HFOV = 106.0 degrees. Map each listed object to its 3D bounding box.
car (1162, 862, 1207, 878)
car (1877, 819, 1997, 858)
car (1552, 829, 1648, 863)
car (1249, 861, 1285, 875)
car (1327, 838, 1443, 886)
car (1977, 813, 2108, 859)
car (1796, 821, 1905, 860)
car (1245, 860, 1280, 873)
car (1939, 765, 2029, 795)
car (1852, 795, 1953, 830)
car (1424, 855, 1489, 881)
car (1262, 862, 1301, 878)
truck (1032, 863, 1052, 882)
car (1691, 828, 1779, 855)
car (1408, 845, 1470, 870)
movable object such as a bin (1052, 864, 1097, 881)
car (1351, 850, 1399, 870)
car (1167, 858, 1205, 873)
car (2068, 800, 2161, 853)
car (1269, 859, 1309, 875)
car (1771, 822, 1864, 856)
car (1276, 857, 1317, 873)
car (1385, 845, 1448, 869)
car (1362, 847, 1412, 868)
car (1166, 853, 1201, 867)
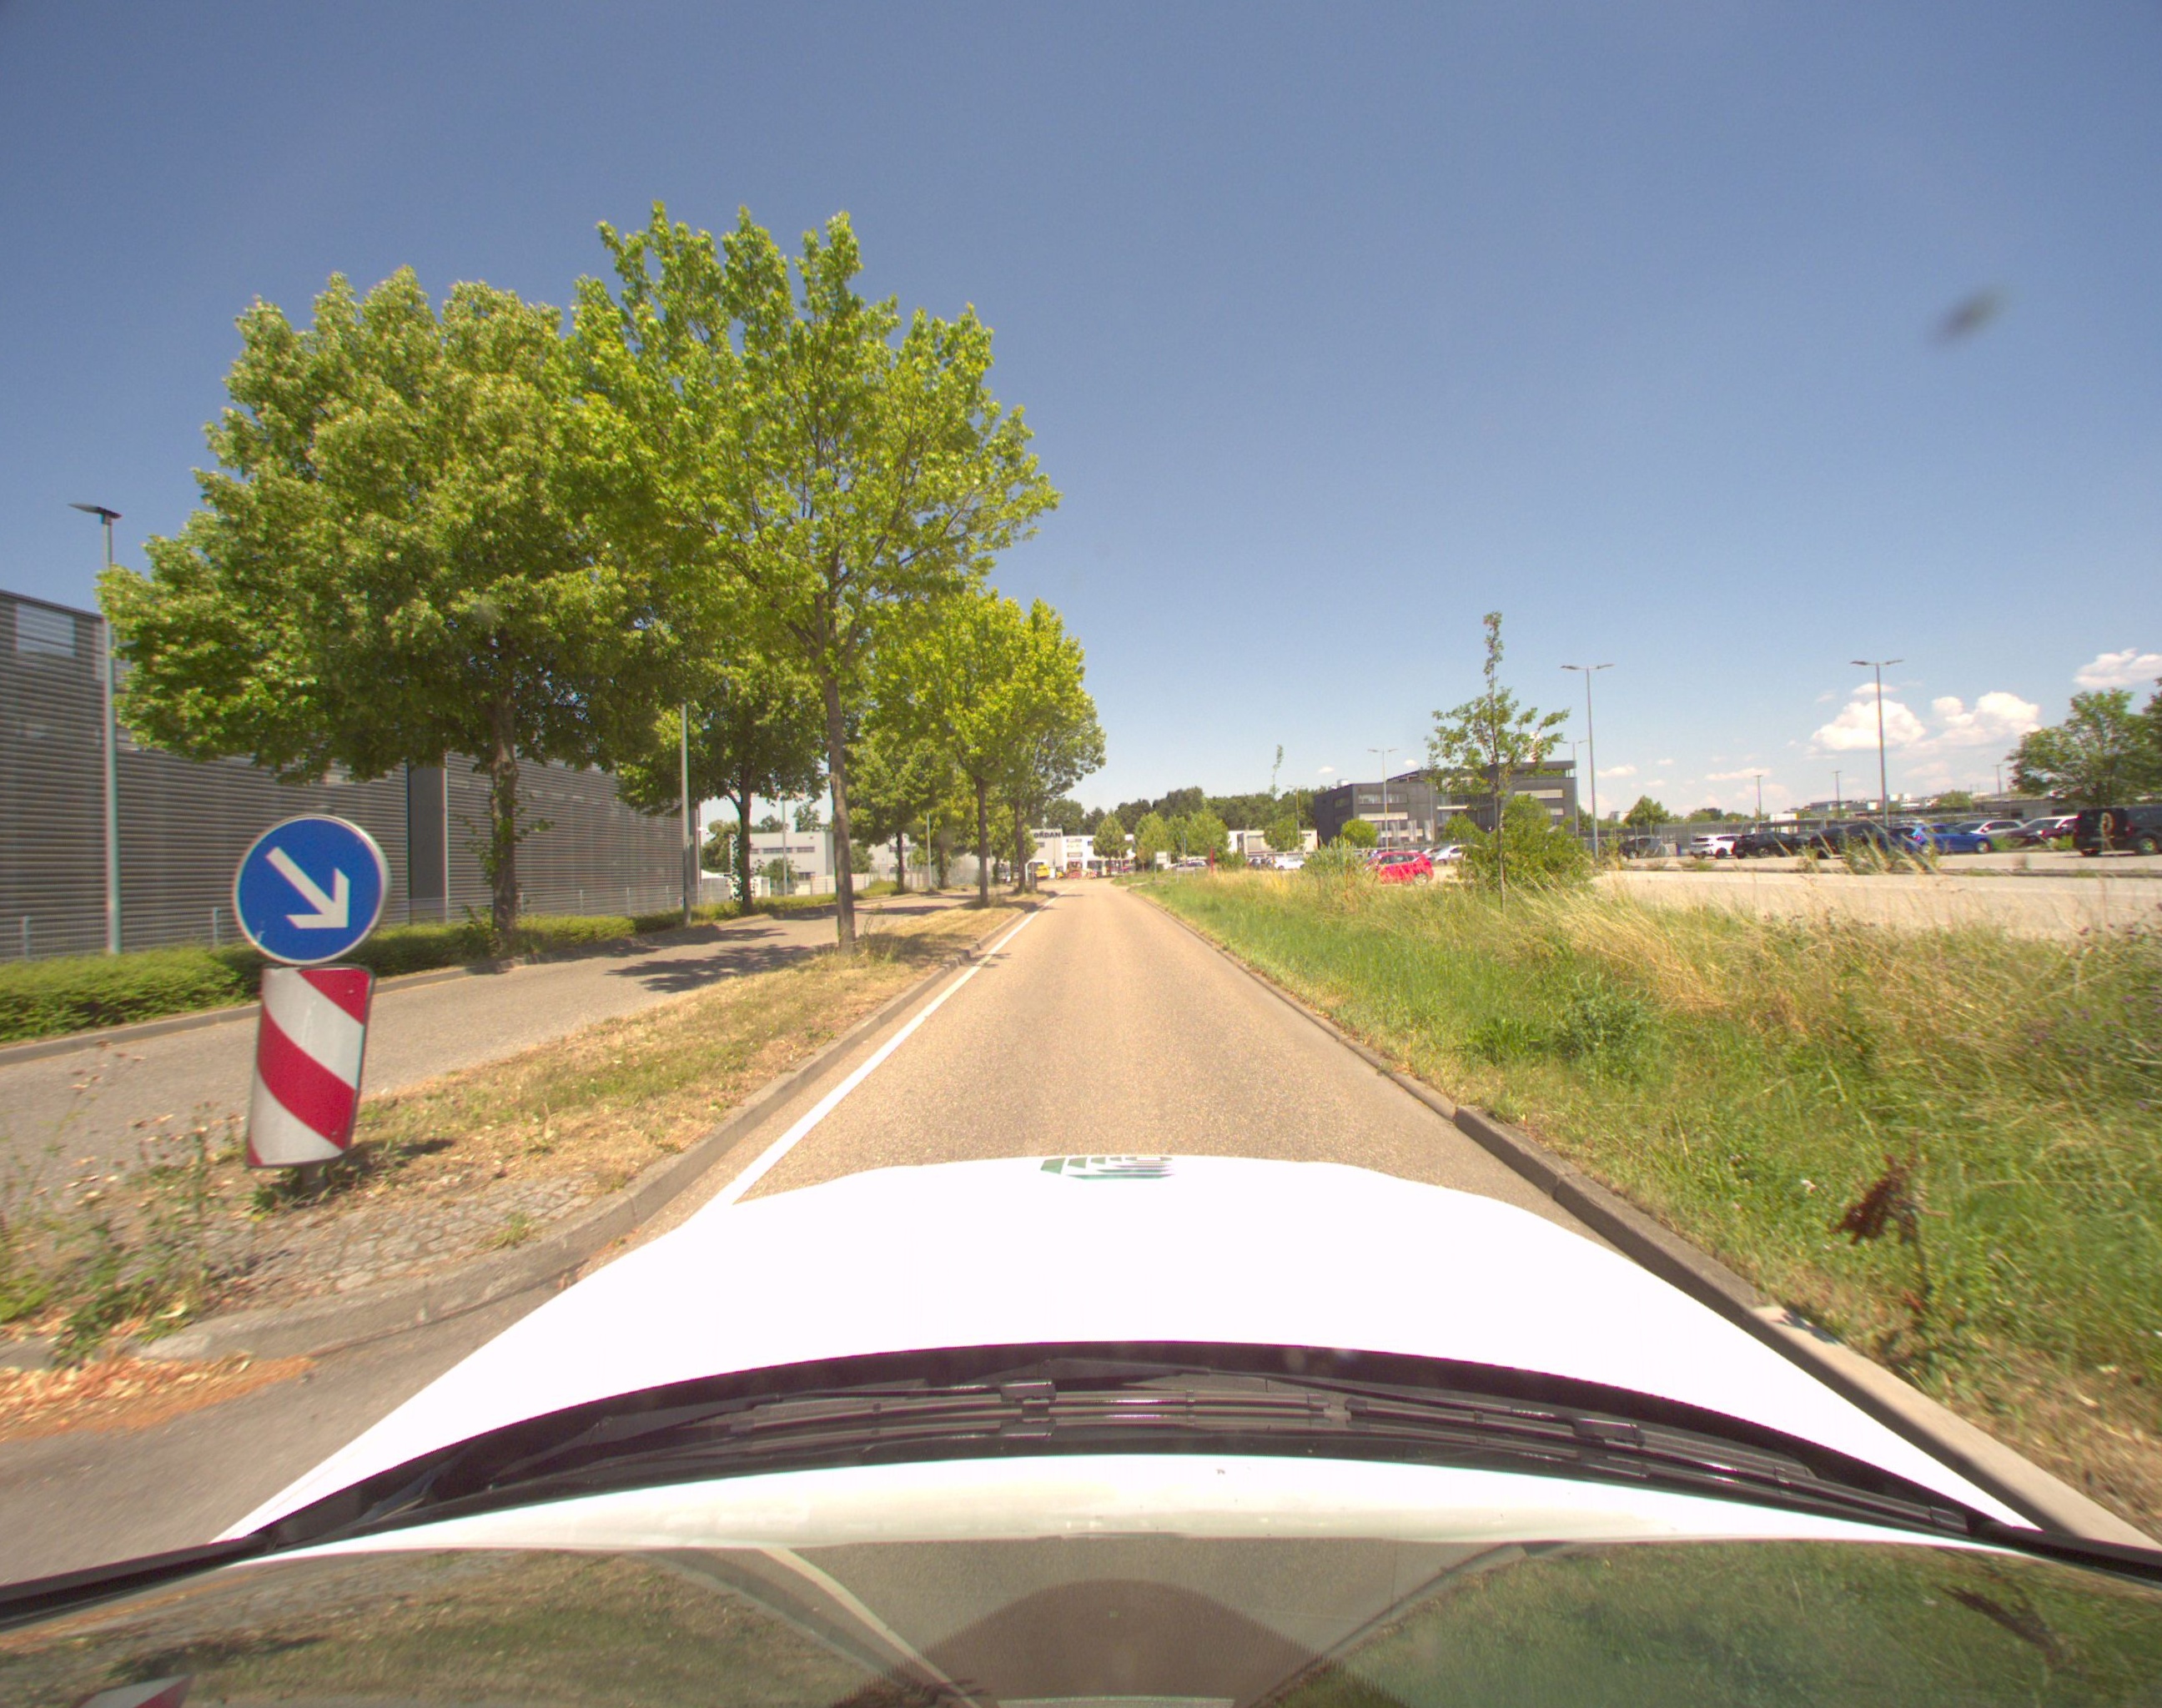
[{"bbox_3d":[11.358,1.719,89.188,4.685,1.400,1.923,-3,2,2],"label":"car"},{"bbox_3d":[38.670,-0.722,36.833,3.789,1.464,1.732,-4,2,-4],"label":"car"},{"bbox_3d":[28.351,-0.423,44.608,3.974,1.641,1.927,-3,-1,0],"label":"car"},{"bbox_3d":[23.376,1.787,102.288,3.978,1.400,1.767,-4,2,-3],"label":"car"},{"bbox_3d":[12.386,0.340,33.377,3.974,1.724,1.927,-3,-1,0],"label":"car"},{"bbox_3d":[44.806,-0.853,38.016,3.980,1.881,1.997,-4,2,-4],"label":"car"},{"bbox_3d":[37.975,-0.697,40.215,3.990,1.639,1.992,-4,2,-12],"label":"car"},{"bbox_3d":[23.424,1.605,105.011,3.978,1.400,1.767,-4,2,-3],"label":"car"},{"bbox_3d":[58.820,-4.797,53.094,3.975,1.639,1.794,-4,2,-1],"label":"car"},{"bbox_3d":[44.078,-2.217,43.732,3.990,1.639,1.992,-4,2,-12],"label":"car"},{"bbox_3d":[27.751,0.994,60.253,3.978,1.595,1.767,-4,2,-3],"label":"car"},{"bbox_3d":[23.181,1.827,94.400,3.978,1.490,1.767,-4,2,-3],"label":"car"},{"bbox_3d":[-6.991,3.261,144.867,2.937,2.885,5.794,-4,2,-8],"label":"truck"},{"bbox_3d":[39.187,-0.760,48.830,3.980,1.341,1.693,-3,-2,-5],"label":"car"},{"bbox_3d":[27.576,0.241,62.828,3.978,1.595,1.767,-4,2,-3],"label":"car"},{"bbox_3d":[-1.101,3.320,145.223,7.483,2.499,3.675,-3,2,8],"label":"movable object such as a bin"},{"bbox_3d":[28.587,0.595,79.160,3.978,1.595,1.767,-4,2,-3],"label":"car"},{"bbox_3d":[12.413,1.372,96.089,4.154,1.400,1.767,-4,2,-3],"label":"car"},{"bbox_3d":[38.551,-1.037,29.333,3.977,1.757,1.756,-4,0,-3],"label":"car"},{"bbox_3d":[23.313,1.474,91.507,3.978,1.400,1.767,-4,2,-3],"label":"car"},{"bbox_3d":[42.311,-0.881,46.800,3.990,1.639,1.992,-4,2,-12],"label":"car"},{"bbox_3d":[23.530,1.204,89.076,3.977,1.400,1.768,-4,2,-2],"label":"car"},{"bbox_3d":[27.262,0.238,66.239,4.357,1.595,1.767,-4,2,-3],"label":"car"},{"bbox_3d":[28.830,0.304,76.809,3.978,1.595,1.859,-4,2,-3],"label":"car"},{"bbox_3d":[13.031,0.735,104.074,4.154,1.400,1.767,-4,2,-3],"label":"car"}]
